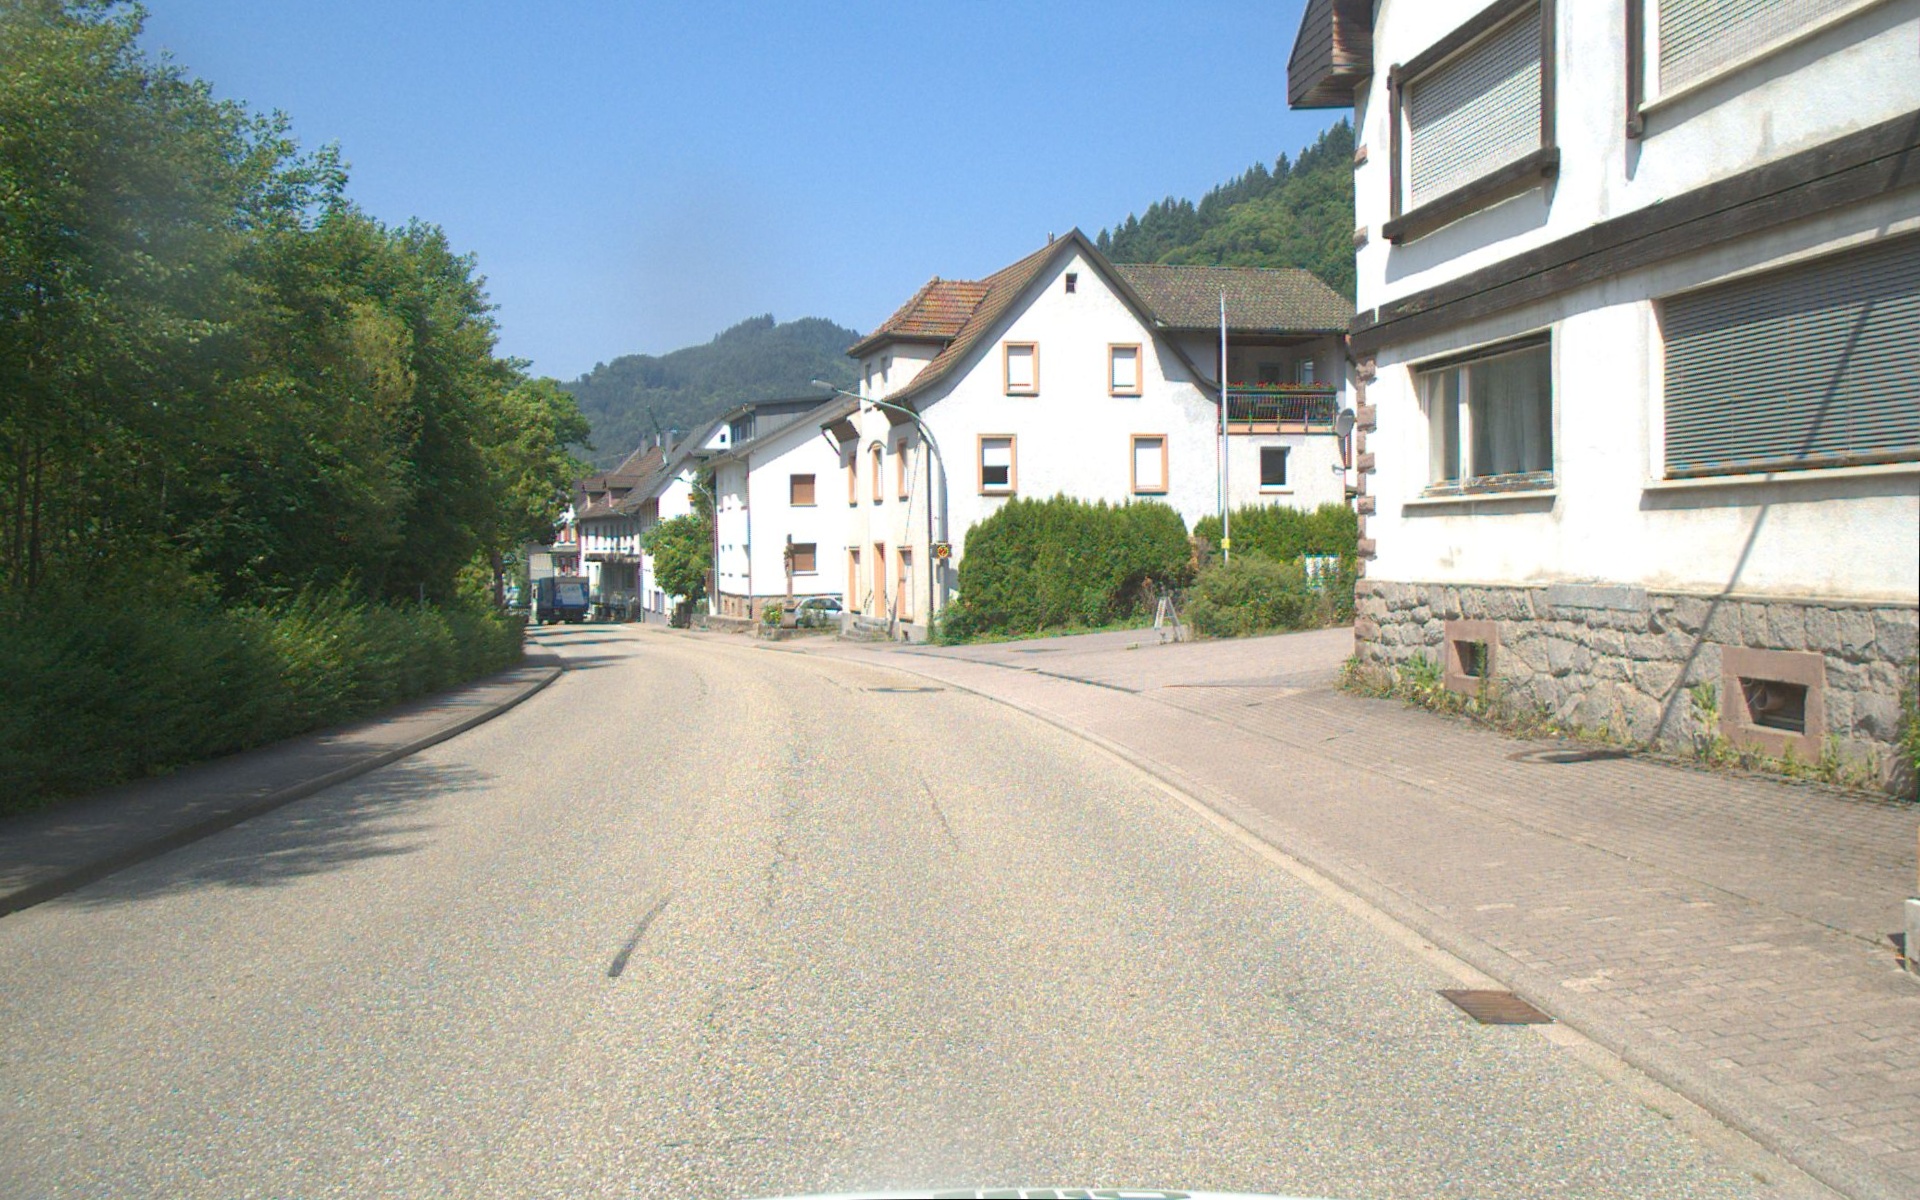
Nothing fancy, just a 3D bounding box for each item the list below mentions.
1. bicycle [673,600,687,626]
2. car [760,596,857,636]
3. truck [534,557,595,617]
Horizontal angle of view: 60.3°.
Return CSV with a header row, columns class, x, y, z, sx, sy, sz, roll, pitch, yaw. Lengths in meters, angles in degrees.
class,x,y,z,sx,sy,sz,roll,pitch,yaw
bicycle,-15.527,0.713,91.636,0.418,1.420,2.267,-5,1,-16
car,-6.224,0.658,67.946,3.692,1.452,1.607,-2,0,29
truck,-29.527,-0.915,123.151,3.315,3.847,8.390,-5,-1,-20
